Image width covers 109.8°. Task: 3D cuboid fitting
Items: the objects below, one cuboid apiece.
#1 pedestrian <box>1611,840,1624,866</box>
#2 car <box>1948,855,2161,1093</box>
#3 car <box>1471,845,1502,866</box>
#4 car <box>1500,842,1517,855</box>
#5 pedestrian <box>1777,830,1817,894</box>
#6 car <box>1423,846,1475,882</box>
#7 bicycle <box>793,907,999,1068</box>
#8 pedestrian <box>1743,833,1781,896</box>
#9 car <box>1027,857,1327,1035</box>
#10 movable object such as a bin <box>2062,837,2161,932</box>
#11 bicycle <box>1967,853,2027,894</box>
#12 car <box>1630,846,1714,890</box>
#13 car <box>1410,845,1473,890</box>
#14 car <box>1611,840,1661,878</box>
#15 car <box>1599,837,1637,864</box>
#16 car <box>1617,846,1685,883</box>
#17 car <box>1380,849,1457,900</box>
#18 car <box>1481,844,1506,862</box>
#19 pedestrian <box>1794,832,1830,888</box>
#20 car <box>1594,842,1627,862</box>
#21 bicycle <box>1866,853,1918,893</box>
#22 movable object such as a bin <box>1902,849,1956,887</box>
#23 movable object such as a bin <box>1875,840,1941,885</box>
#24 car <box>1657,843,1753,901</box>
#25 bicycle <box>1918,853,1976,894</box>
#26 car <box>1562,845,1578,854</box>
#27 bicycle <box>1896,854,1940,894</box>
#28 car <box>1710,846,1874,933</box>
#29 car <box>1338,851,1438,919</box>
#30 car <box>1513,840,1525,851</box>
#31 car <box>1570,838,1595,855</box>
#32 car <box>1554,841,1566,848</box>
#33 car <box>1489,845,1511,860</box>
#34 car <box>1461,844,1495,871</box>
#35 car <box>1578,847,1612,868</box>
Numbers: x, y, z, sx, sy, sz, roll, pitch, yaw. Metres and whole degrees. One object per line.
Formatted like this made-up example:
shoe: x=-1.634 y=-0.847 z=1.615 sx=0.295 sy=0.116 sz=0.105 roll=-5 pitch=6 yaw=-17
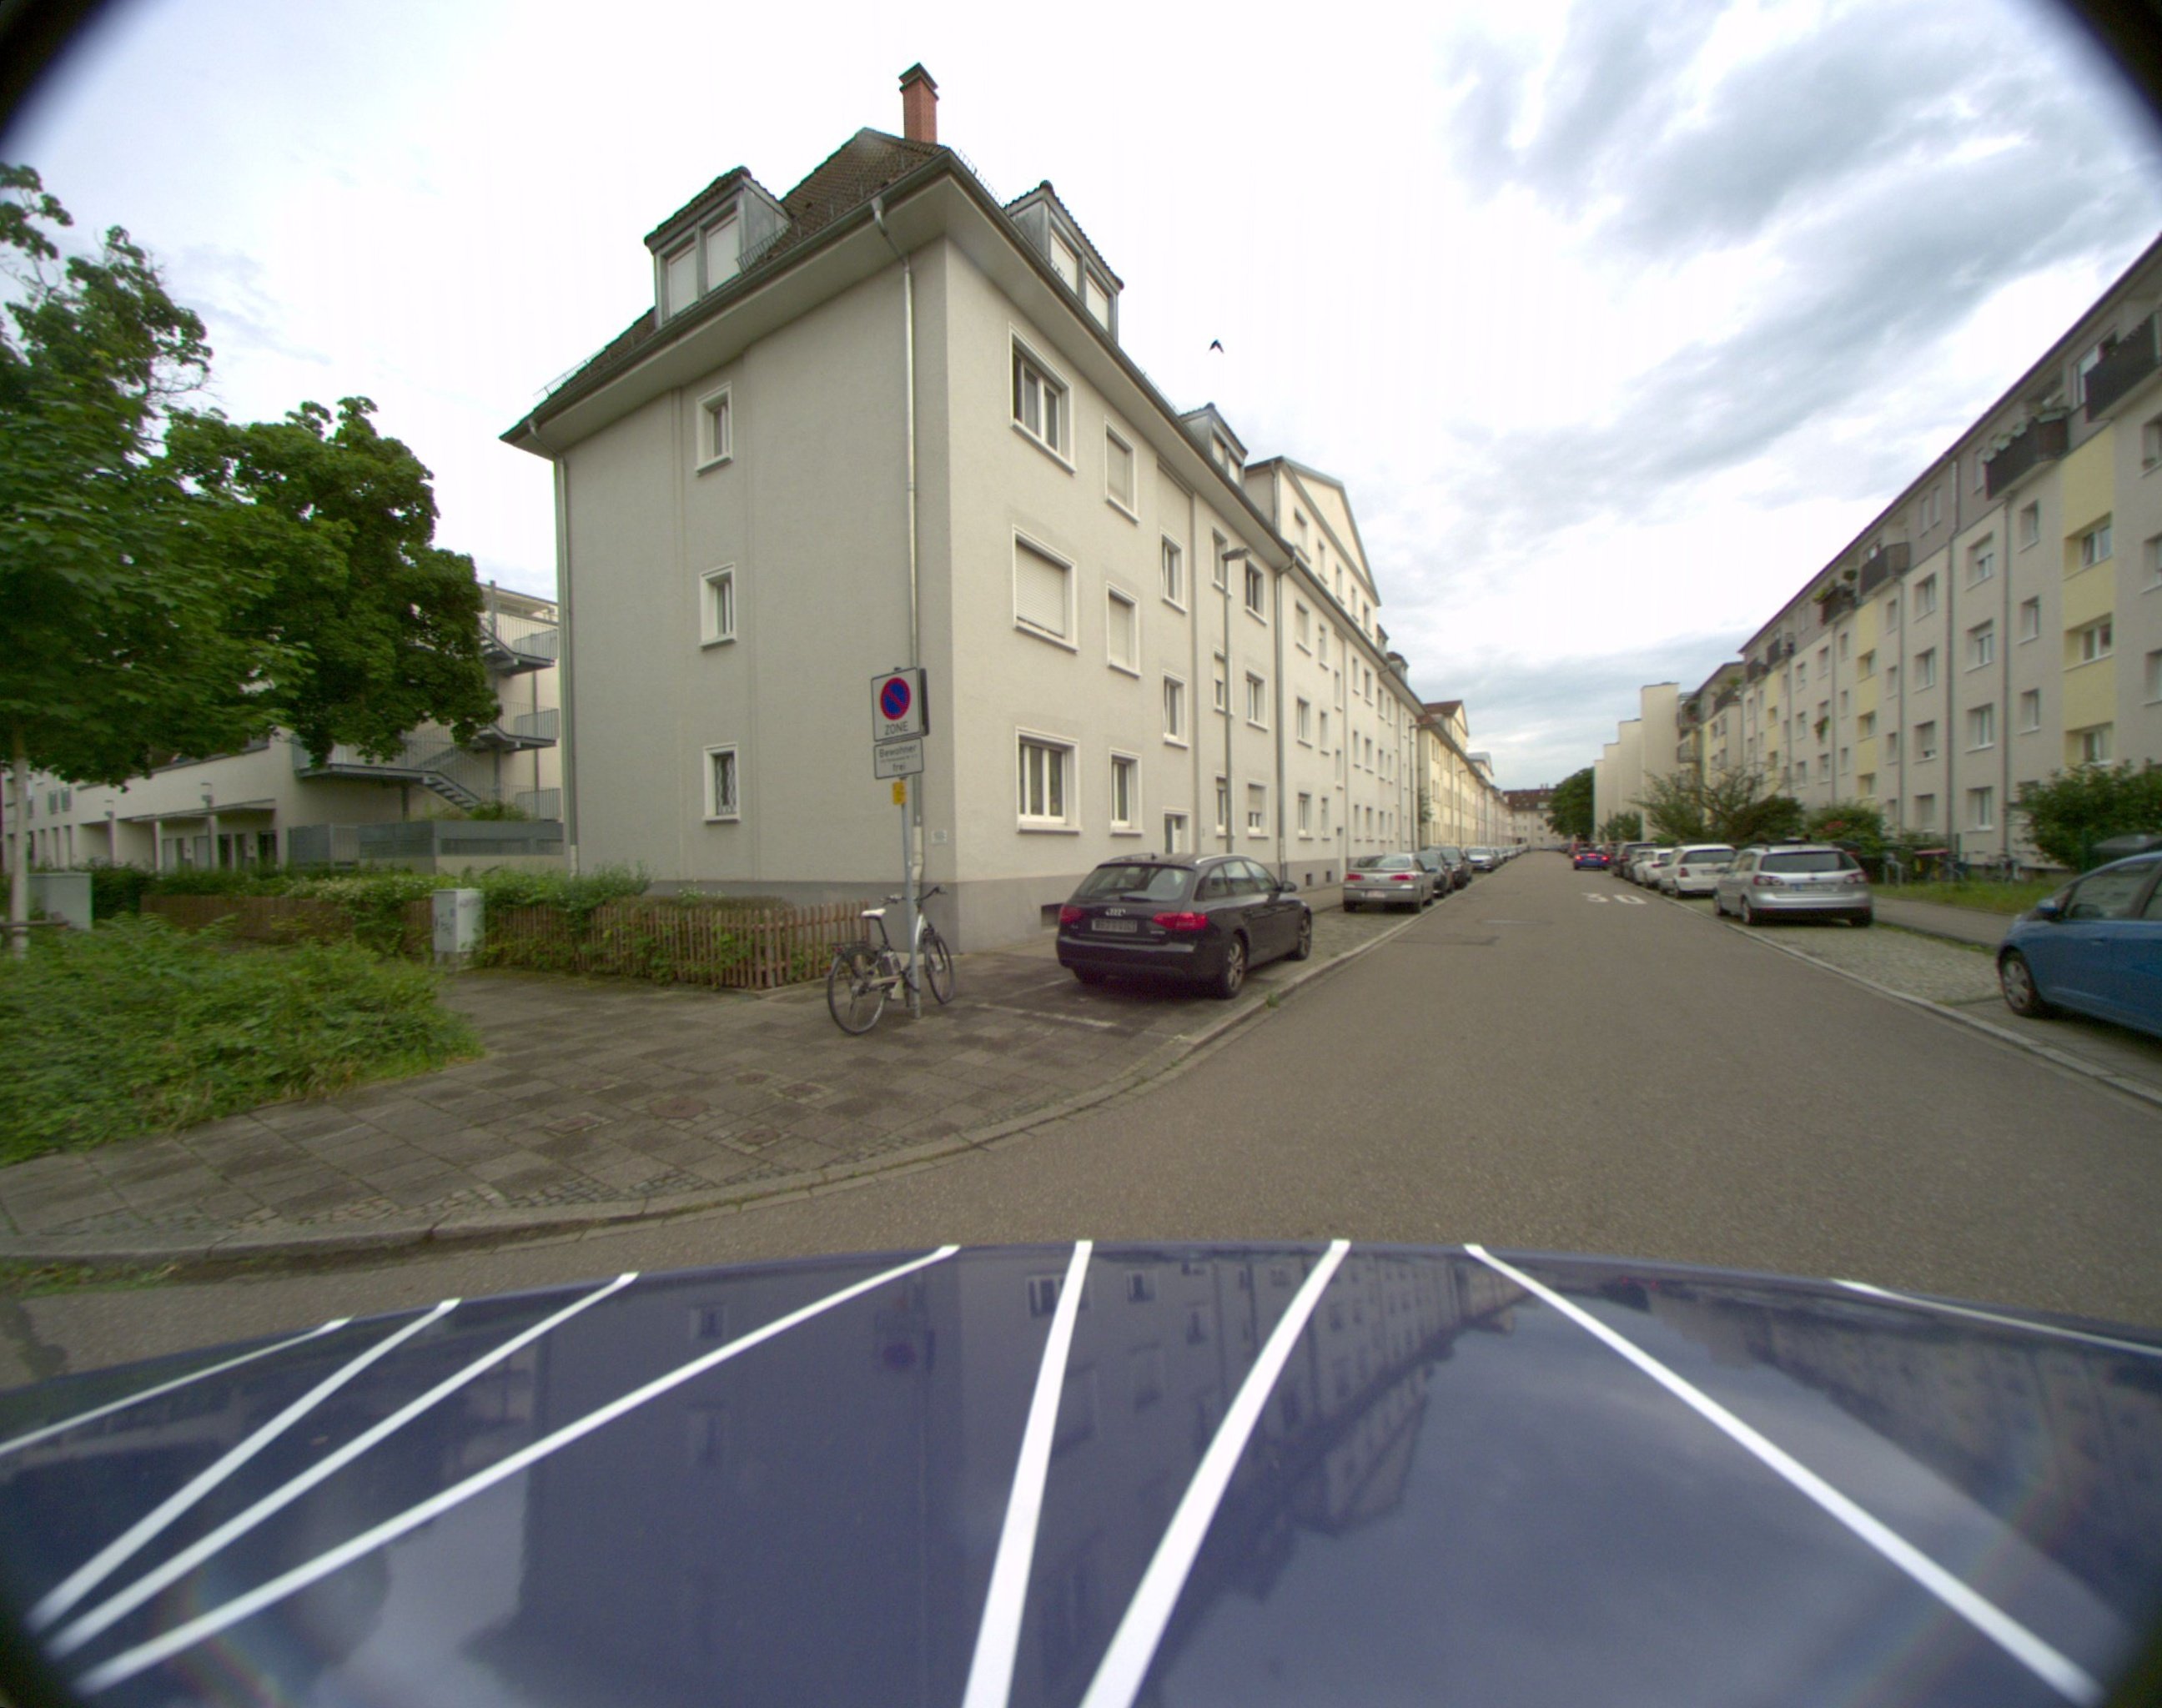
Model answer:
pedestrian: x=34.275 y=-0.054 z=48.515 sx=0.602 sy=1.657 sz=0.623 roll=0 pitch=1 yaw=29
car: x=8.235 y=0.782 z=5.295 sx=1.731 sy=1.454 sz=3.964 roll=-3 pitch=-1 yaw=31
car: x=29.012 y=0.106 z=54.314 sx=1.733 sy=1.418 sz=4.226 roll=0 pitch=1 yaw=31
car: x=48.910 y=-0.687 z=86.920 sx=1.733 sy=1.443 sz=4.225 roll=0 pitch=1 yaw=30
pedestrian: x=21.156 y=0.240 z=22.460 sx=0.707 sy=1.843 sz=0.764 roll=0 pitch=1 yaw=31
car: x=16.118 y=0.394 z=33.199 sx=1.733 sy=1.478 sz=3.764 roll=0 pitch=1 yaw=31
bicycle: x=-1.537 y=1.079 z=6.678 sx=0.567 sy=0.998 sz=1.892 roll=2 pitch=4 yaw=31
pedestrian: x=20.808 y=0.314 z=23.241 sx=0.640 sy=1.852 sz=0.976 roll=-3 pitch=0 yaw=31
car: x=1.457 y=0.803 z=9.059 sx=1.861 sy=1.454 sz=4.734 roll=0 pitch=1 yaw=30
movable object such as a bin: x=16.835 y=0.438 z=11.714 sx=1.590 sy=1.412 sz=1.674 roll=-1 pitch=0 yaw=30
bicycle: x=23.515 y=0.485 z=19.532 sx=0.420 sy=1.018 sz=1.562 roll=0 pitch=1 yaw=28
car: x=21.810 y=0.464 z=28.211 sx=1.719 sy=1.501 sz=4.696 roll=0 pitch=0 yaw=29
car: x=13.700 y=0.450 z=28.736 sx=1.849 sy=1.589 sz=4.168 roll=0 pitch=1 yaw=30
car: x=27.559 y=0.227 z=37.860 sx=1.572 sy=1.769 sz=4.461 roll=0 pitch=0 yaw=30
car: x=37.035 y=-0.231 z=52.455 sx=1.703 sy=1.796 sz=3.549 roll=0 pitch=0 yaw=29
car: x=24.429 y=0.397 z=32.696 sx=1.726 sy=1.445 sz=4.491 roll=0 pitch=1 yaw=29
car: x=10.780 y=0.585 z=24.098 sx=1.782 sy=1.454 sz=4.331 roll=0 pitch=1 yaw=30
car: x=34.784 y=-0.092 z=63.985 sx=1.733 sy=1.402 sz=4.225 roll=0 pitch=1 yaw=30
pedestrian: x=21.853 y=0.187 z=22.730 sx=0.614 sy=1.647 sz=0.805 roll=0 pitch=0 yaw=31
car: x=40.217 y=-0.158 z=57.779 sx=1.703 sy=1.436 sz=3.549 roll=0 pitch=0 yaw=29
bicycle: x=22.036 y=0.499 z=20.681 sx=0.488 sy=1.018 sz=1.882 roll=0 pitch=1 yaw=31
movable object such as a bin: x=25.749 y=0.430 z=23.098 sx=0.869 sy=1.103 sz=0.789 roll=-1 pitch=2 yaw=27
movable object such as a bin: x=26.182 y=0.267 z=24.081 sx=1.057 sy=1.367 sz=1.191 roll=-1 pitch=2 yaw=26
car: x=19.035 y=0.495 z=23.329 sx=1.686 sy=1.629 sz=3.734 roll=0 pitch=1 yaw=30
bicycle: x=22.772 y=0.503 z=20.014 sx=0.478 sy=1.018 sz=1.758 roll=0 pitch=1 yaw=31
car: x=80.641 y=-0.703 z=125.307 sx=1.742 sy=1.534 sz=3.645 roll=-1 pitch=0 yaw=25
bicycle: x=22.391 y=0.513 z=20.343 sx=0.356 sy=1.018 sz=1.500 roll=0 pitch=1 yaw=31
car: x=14.338 y=0.649 z=15.565 sx=1.655 sy=1.541 sz=3.923 roll=-4 pitch=-1 yaw=32
car: x=7.803 y=0.677 z=19.073 sx=1.733 sy=1.454 sz=4.439 roll=0 pitch=1 yaw=30
car: x=69.224 y=-1.296 z=120.085 sx=1.733 sy=1.670 sz=3.599 roll=0 pitch=1 yaw=30
car: x=60.893 y=-0.926 z=92.343 sx=2.183 sy=2.020 sz=4.431 roll=0 pitch=0 yaw=29
car: x=106.079 y=-2.124 z=168.249 sx=1.742 sy=1.534 sz=3.644 roll=-1 pitch=0 yaw=25
car: x=38.909 y=-0.184 z=70.518 sx=1.733 sy=1.363 sz=4.225 roll=0 pitch=1 yaw=30
car: x=24.405 y=0.194 z=46.663 sx=1.733 sy=1.538 sz=3.684 roll=0 pitch=1 yaw=30
car: x=32.836 y=0.208 z=48.584 sx=1.676 sy=1.307 sz=3.916 roll=0 pitch=0 yaw=32
